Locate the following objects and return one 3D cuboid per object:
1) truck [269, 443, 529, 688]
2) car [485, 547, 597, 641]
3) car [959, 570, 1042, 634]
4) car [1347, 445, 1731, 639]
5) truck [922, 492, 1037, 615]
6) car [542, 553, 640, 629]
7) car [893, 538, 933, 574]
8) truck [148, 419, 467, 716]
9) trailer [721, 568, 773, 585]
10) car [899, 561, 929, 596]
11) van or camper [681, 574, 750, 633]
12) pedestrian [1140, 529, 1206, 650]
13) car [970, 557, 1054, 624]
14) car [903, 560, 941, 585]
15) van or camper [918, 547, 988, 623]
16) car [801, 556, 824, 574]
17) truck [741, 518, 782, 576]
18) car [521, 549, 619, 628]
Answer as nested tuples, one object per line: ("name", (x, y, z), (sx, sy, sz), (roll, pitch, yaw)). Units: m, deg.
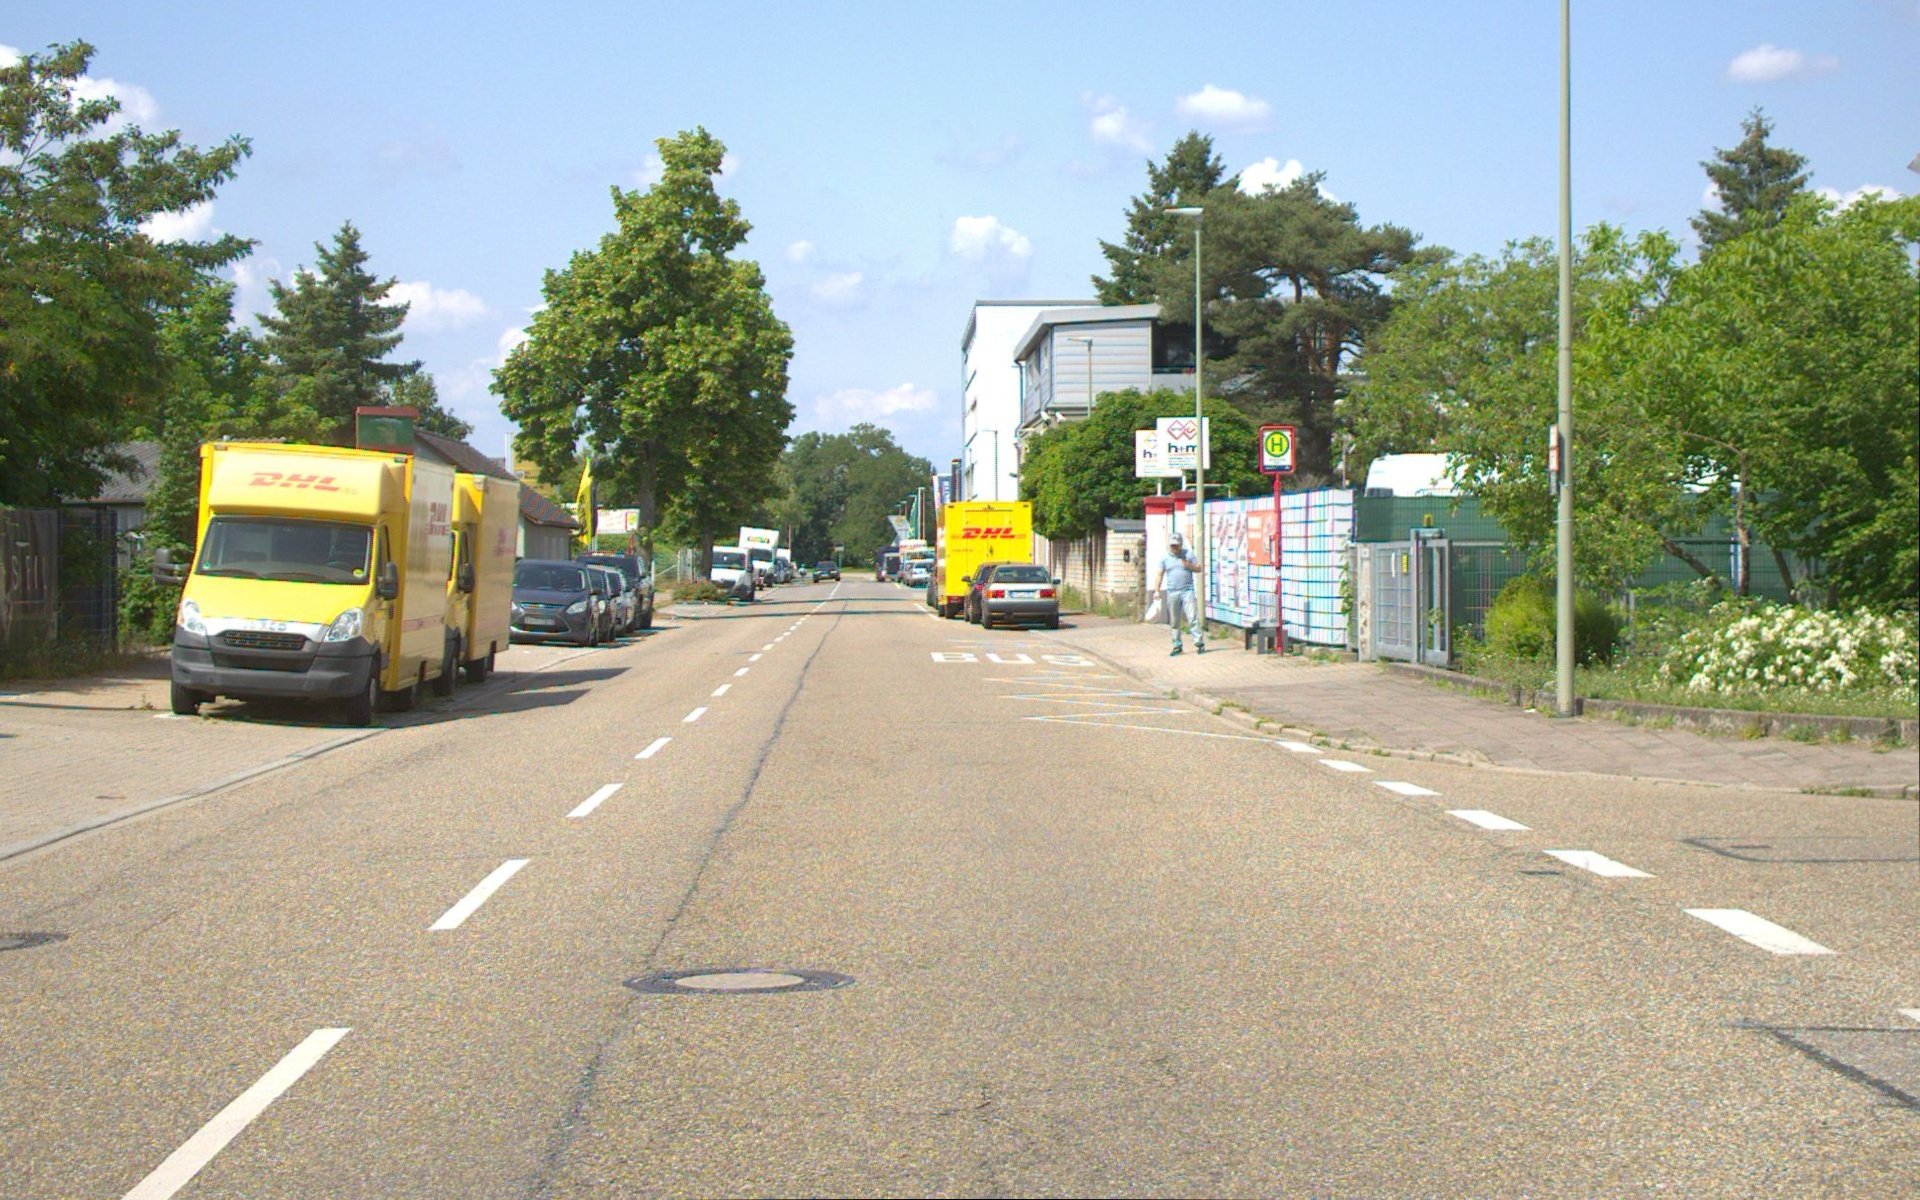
("truck", (-7.179, -0.449, 44.832), (2.316, 2.853, 7.105), (2, 0, -2))
("car", (-7.787, -0.133, 64.210), (1.724, 1.598, 4.415), (3, 0, -3))
("car", (0.917, 0.023, 80.181), (1.662, 1.436, 4.284), (0, 1, -3))
("car", (8.100, -0.815, 48.316), (4.905, 2.643, 2.074), (0, 0, -9))
("truck", (0.444, -1.168, 87.163), (2.474, 2.930, 7.189), (1, 0, -3))
("car", (-8.044, -0.222, 75.243), (1.733, 1.513, 4.743), (2, 1, -2))
("car", (-2.661, -2.477, 193.059), (2.216, 2.007, 5.485), (0, 1, -1))
("truck", (-6.863, -0.317, 37.044), (2.269, 2.845, 7.175), (1, 0, -2))
("trailer", (-10.946, -1.218, 177.292), (2.417, 0.811, 5.537), (2, 1, -1))
("car", (-2.737, -1.293, 204.220), (1.707, 2.083, 4.000), (0, 1, -2))
("van or camper", (-10.355, 0.125, 146.161), (2.173, 2.405, 7.697), (0, 1, 2))
("pedestrian", (3.093, -0.159, 49.966), (0.715, 1.691, 0.522), (-6, 1, -6))
("car", (1.118, -0.225, 75.404), (1.651, 1.382, 4.423), (1, 1, -1))
("car", (-2.006, -1.444, 179.769), (1.928, 1.306, 4.000), (0, 1, -2))
("van or camper", (-0.244, -0.483, 107.621), (1.993, 2.283, 5.448), (1, 0, -2))
("car", (-10.984, -2.615, 255.785), (1.654, 1.320, 4.417), (0, 1, -1))
("truck", (-11.051, -2.939, 191.541), (2.029, 3.143, 6.500), (0, 1, -1))
("car", (-7.880, -0.242, 69.769), (1.627, 1.443, 4.027), (4, 0, -3))
